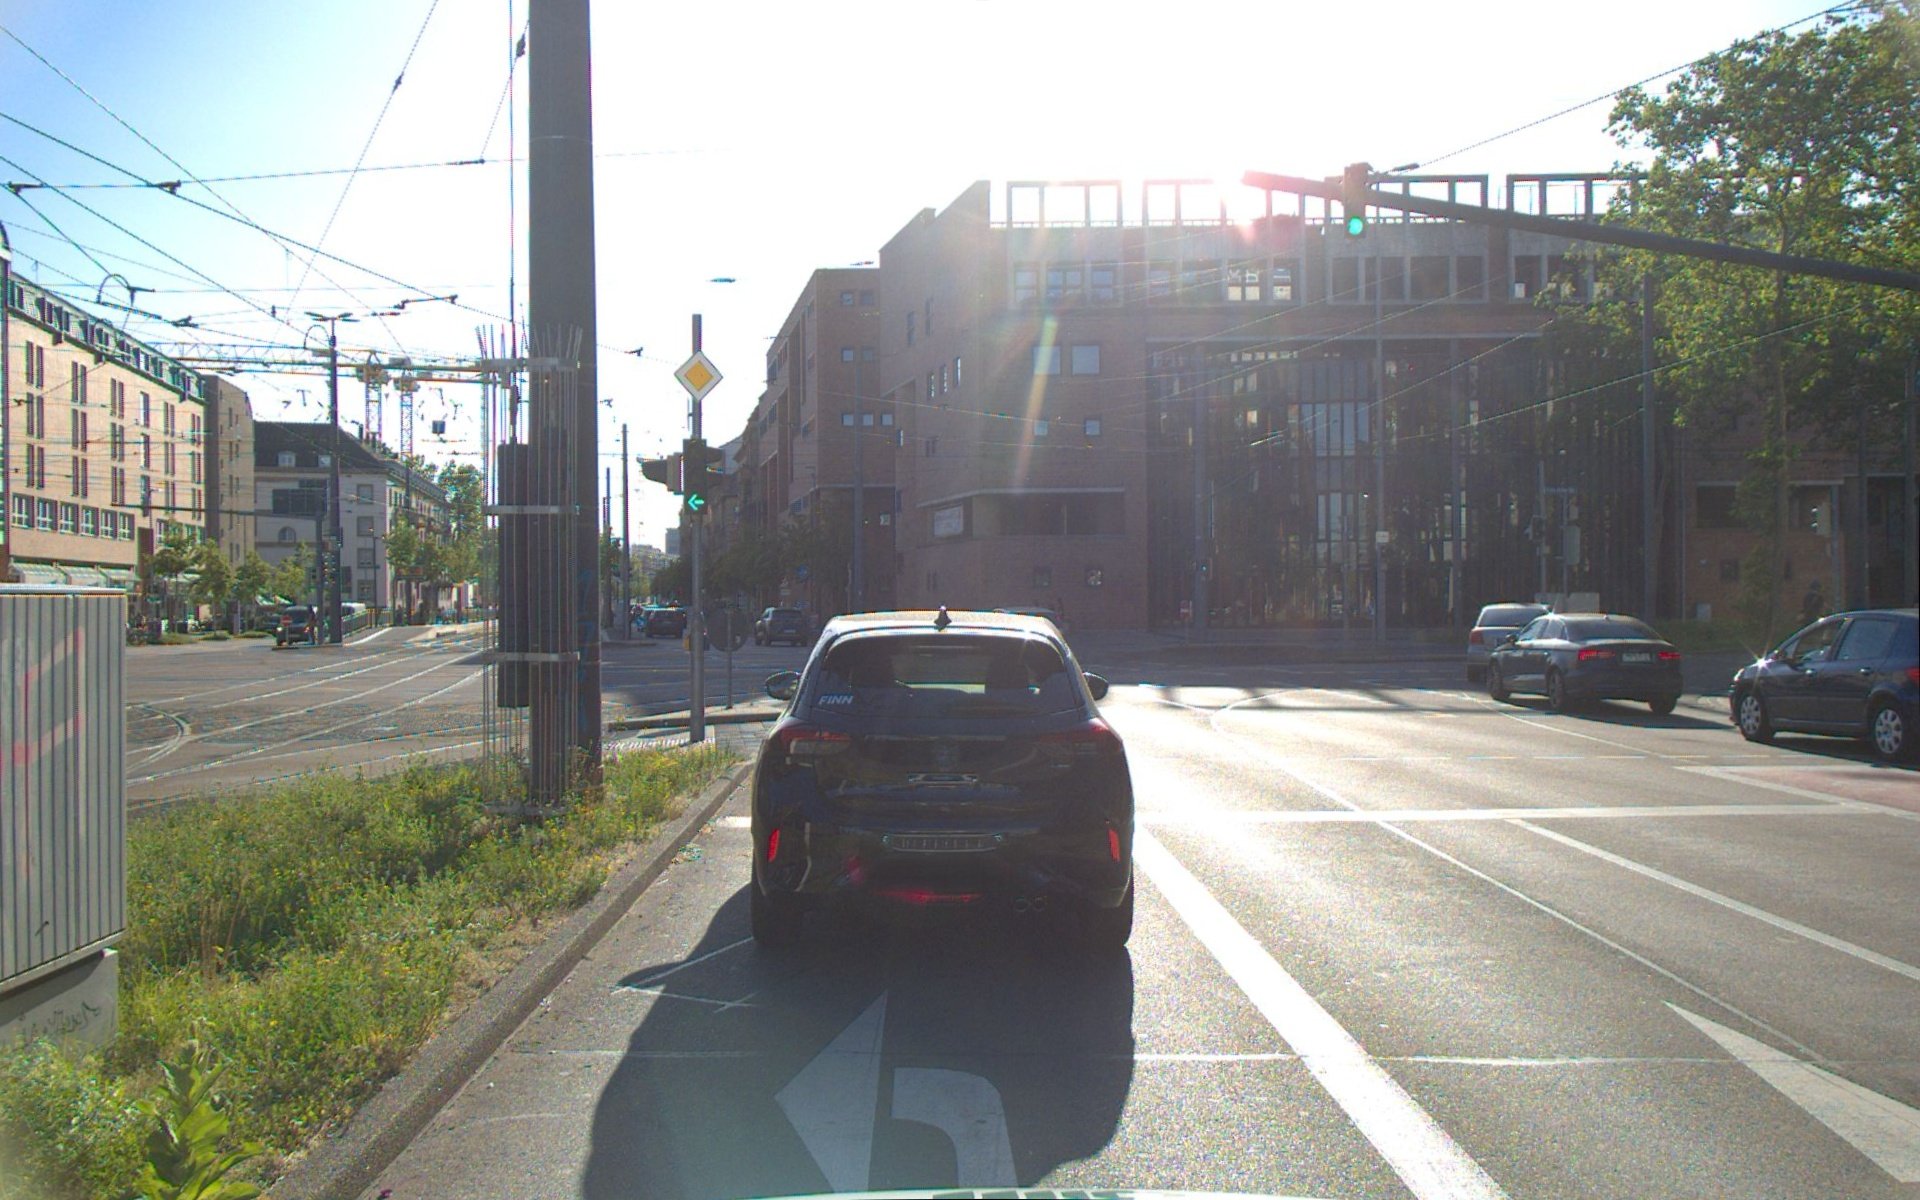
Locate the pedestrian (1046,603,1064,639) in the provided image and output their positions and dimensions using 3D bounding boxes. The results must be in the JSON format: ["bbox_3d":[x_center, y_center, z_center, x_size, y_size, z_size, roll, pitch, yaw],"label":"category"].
[{"bbox_3d":[4.005,0.879,69.888,0.541,1.503,0.568,-1,1,-29],"label":"pedestrian"}]

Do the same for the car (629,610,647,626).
[{"bbox_3d":[-29.331,1.629,150.556,1.489,1.479,3.572,-1,0,-13],"label":"car"}]

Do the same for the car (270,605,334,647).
[{"bbox_3d":[-30.982,1.206,77.990,1.805,1.868,4.099,-2,0,-9],"label":"car"}]

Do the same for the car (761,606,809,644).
[{"bbox_3d":[-7.293,1.027,68.735,1.641,1.479,3.687,-1,0,-11],"label":"car"}]

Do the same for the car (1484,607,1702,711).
[{"bbox_3d":[9.509,0.841,25.176,1.661,1.465,4.017,0,-1,-2],"label":"car"}]

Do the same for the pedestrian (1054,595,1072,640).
[{"bbox_3d":[4.269,0.727,68.676,0.563,1.817,0.546,-1,0,-20],"label":"pedestrian"}]

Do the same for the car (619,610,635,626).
[{"bbox_3d":[-33.172,1.760,164.795,1.489,1.479,3.572,-1,0,-13],"label":"car"}]

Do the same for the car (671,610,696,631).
[{"bbox_3d":[-20.808,1.512,124.407,1.690,1.479,3.687,-1,0,-11],"label":"car"}]

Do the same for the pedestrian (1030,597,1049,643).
[{"bbox_3d":[3.226,0.812,67.166,0.563,1.817,0.546,-1,0,-20],"label":"pedestrian"}]

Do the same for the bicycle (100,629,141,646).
[{"bbox_3d":[-46.267,2.047,91.172,1.992,0.860,0.483,-1,0,-2],"label":"bicycle"}]

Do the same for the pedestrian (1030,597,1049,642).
[{"bbox_3d":[3.248,0.785,67.868,0.563,1.817,0.546,-1,0,-20],"label":"pedestrian"}]

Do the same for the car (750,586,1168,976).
[{"bbox_3d":[-0.027,0.715,8.392,1.638,1.528,3.690,1,0,-1],"label":"car"}]

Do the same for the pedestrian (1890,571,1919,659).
[{"bbox_3d":[19.334,0.312,33.416,0.774,1.764,0.587,1,-1,7],"label":"pedestrian"}]

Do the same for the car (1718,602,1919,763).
[{"bbox_3d":[9.983,0.793,17.643,1.824,1.500,3.975,-1,0,-3],"label":"car"}]

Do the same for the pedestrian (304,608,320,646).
[{"bbox_3d":[-27.632,1.145,70.523,0.573,1.604,0.641,-1,0,-25],"label":"pedestrian"}]

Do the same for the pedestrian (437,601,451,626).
[{"bbox_3d":[-35.651,0.925,114.230,0.849,1.699,0.779,0,1,-22],"label":"pedestrian"}]

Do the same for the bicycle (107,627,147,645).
[{"bbox_3d":[-46.589,2.020,92.519,1.992,0.937,0.483,-1,0,-2],"label":"bicycle"}]

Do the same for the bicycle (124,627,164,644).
[{"bbox_3d":[-46.248,2.012,93.716,1.992,0.937,0.483,-1,0,-2],"label":"bicycle"}]

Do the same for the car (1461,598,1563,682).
[{"bbox_3d":[10.825,0.739,32.310,1.660,1.500,3.982,-1,0,22],"label":"car"}]

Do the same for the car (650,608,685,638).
[{"bbox_3d":[-15.158,1.156,85.712,1.690,1.479,3.687,-1,0,-11],"label":"car"}]

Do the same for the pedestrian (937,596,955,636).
[{"bbox_3d":[-0.636,0.715,75.777,0.629,1.817,0.686,-1,0,-15],"label":"pedestrian"}]

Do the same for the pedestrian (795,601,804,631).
[{"bbox_3d":[-9.810,0.963,101.056,0.537,1.817,0.572,-1,2,-9],"label":"pedestrian"}]

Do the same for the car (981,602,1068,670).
[{"bbox_3d":[1.457,0.796,38.319,1.530,1.481,3.427,-1,0,-6],"label":"car"}]

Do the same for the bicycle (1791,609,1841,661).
[{"bbox_3d":[18.987,0.767,36.658,0.653,1.036,2.176,1,2,37],"label":"bicycle"}]

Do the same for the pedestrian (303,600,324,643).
[{"bbox_3d":[-26.807,0.890,68.589,0.708,1.757,0.593,-1,0,-11],"label":"pedestrian"}]

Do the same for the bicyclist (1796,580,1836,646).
[{"bbox_3d":[18.937,0.277,36.585,0.653,1.432,0.812,1,2,37],"label":"bicyclist"}]
